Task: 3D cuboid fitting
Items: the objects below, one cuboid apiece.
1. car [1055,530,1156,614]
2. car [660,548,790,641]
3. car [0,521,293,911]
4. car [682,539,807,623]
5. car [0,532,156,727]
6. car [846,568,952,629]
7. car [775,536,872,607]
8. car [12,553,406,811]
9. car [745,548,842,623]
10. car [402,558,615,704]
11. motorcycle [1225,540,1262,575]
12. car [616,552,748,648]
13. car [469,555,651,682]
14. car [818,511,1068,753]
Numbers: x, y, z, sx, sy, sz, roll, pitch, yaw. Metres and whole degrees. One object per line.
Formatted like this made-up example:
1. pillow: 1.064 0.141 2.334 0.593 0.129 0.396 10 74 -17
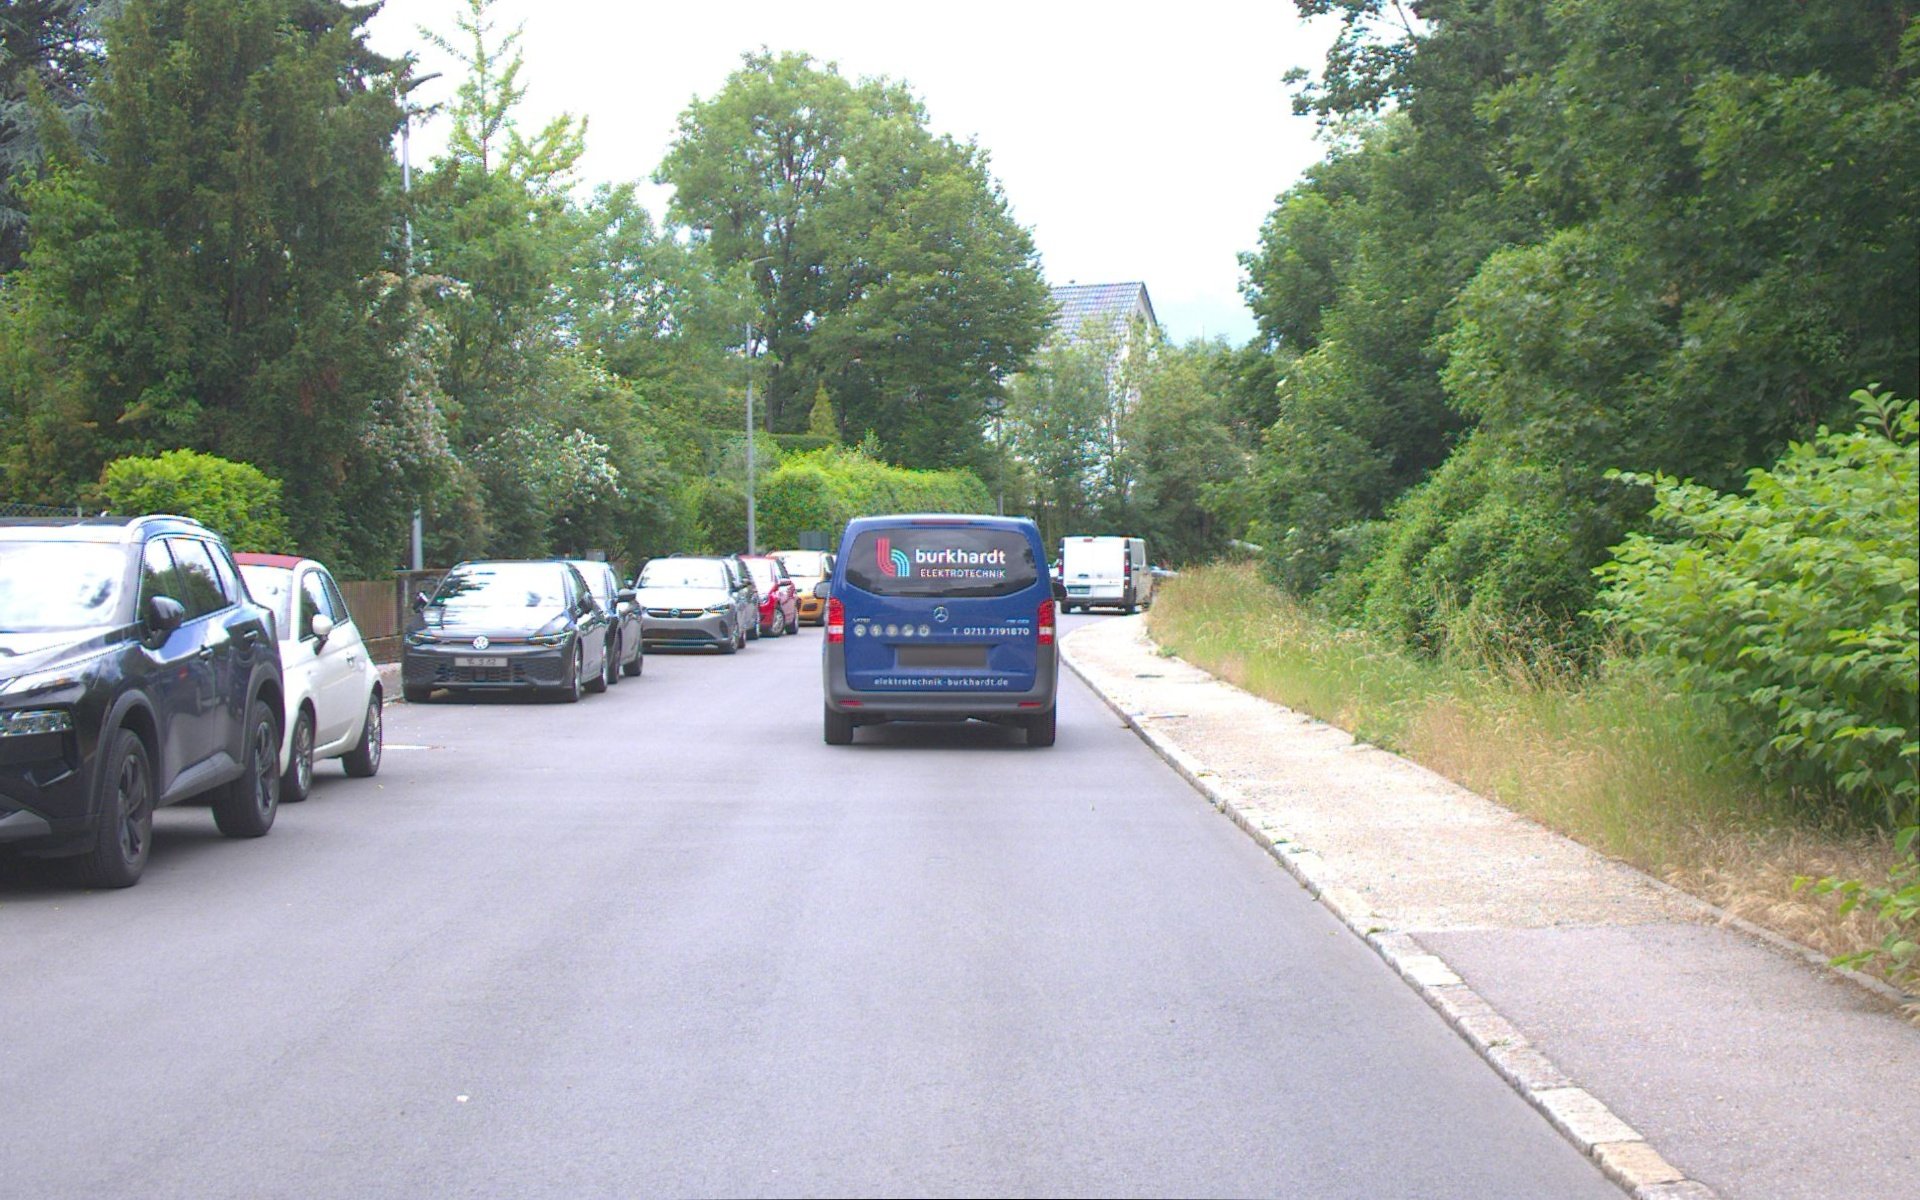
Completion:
1. car: 3.759 -0.733 87.928 2.206 2.056 6.133 0 1 6
2. car: -3.947 -0.120 58.423 1.707 1.509 4.495 0 1 3
3. car: -4.610 0.453 16.821 1.791 1.658 4.392 0 1 1
4. car: -3.962 -0.382 63.895 1.707 1.509 4.363 0 1 5
5. car: -9.042 0.190 29.005 3.989 1.542 1.840 1 1 14
6. car: -1.444 -0.051 83.250 1.719 1.380 4.661 0 1 10
7. car: -2.988 -0.646 75.800 1.588 1.509 3.589 0 1 7
8. car: -4.753 0.457 22.282 1.707 1.506 3.946 0 1 0
9. car: -3.416 -0.316 71.138 1.544 1.509 3.643 0 1 5
10. car: -4.673 0.283 36.070 1.707 1.411 4.150 0 1 0
11. motorcycle: 12.290 -1.852 148.987 0.810 1.480 2.893 1 0 20
12. car: -4.238 -0.031 52.875 1.707 1.405 4.161 0 1 0
13. car: -4.715 0.181 40.997 1.707 1.411 4.132 0 1 0
14. car: -0.187 0.207 28.919 1.936 1.873 4.531 0 1 -1
